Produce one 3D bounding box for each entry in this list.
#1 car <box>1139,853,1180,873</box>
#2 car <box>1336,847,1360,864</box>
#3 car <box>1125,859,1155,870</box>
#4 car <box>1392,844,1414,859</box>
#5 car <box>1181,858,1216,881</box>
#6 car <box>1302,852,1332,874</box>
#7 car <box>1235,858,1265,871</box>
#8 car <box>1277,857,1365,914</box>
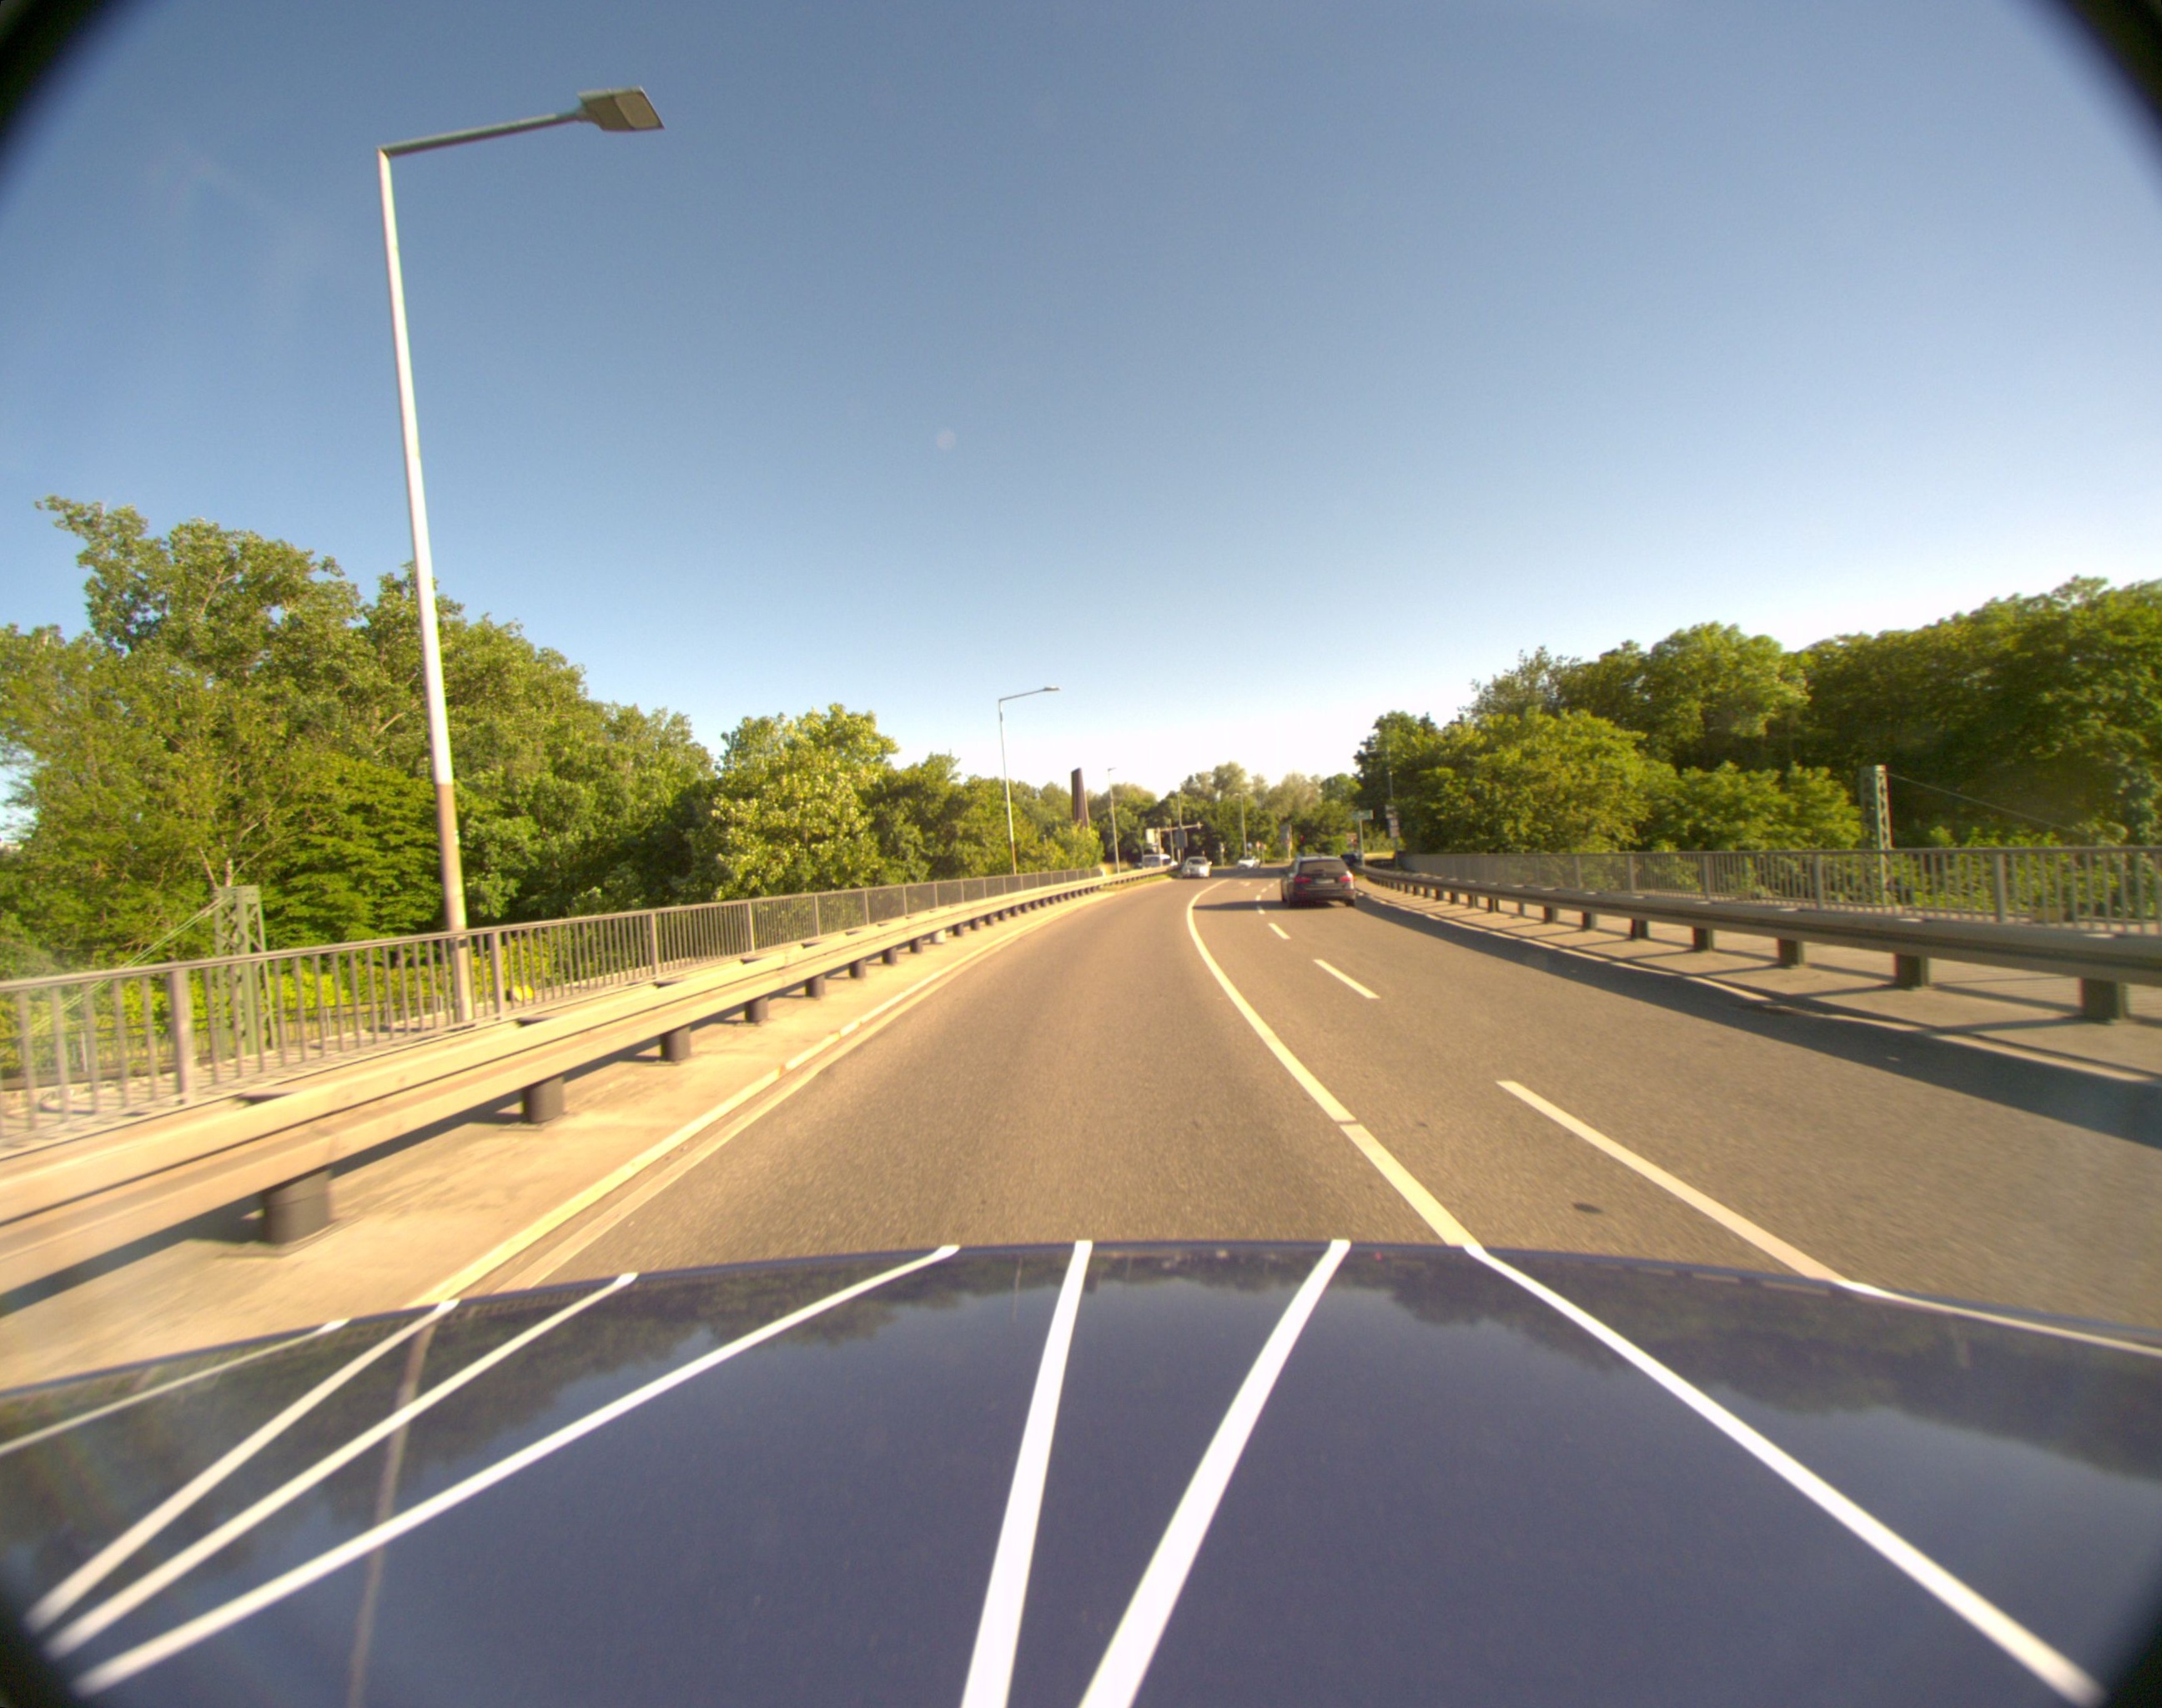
[{"bbox_3d":[11.115,1.292,107.560,2.119,2.484,5.692,-2,-2,-43],"label":"car"},{"bbox_3d":[25.679,0.102,72.911,1.725,1.477,4.414,-2,0,25],"label":"car"},{"bbox_3d":[8.206,1.485,105.348,1.848,1.405,3.978,-2,0,-42],"label":"car"},{"bbox_3d":[38.954,-0.295,91.876,1.805,1.628,4.007,-2,0,31],"label":"car"},{"bbox_3d":[8.083,1.025,52.134,1.762,1.428,4.335,-2,0,16],"label":"car"},{"bbox_3d":[16.673,0.614,53.616,1.783,1.429,3.880,-2,0,20],"label":"car"},{"bbox_3d":[20.572,1.274,92.407,1.989,1.465,4.138,-2,0,35],"label":"car"},{"bbox_3d":[6.897,0.851,22.268,1.877,1.431,4.324,-2,0,10],"label":"car"}]
